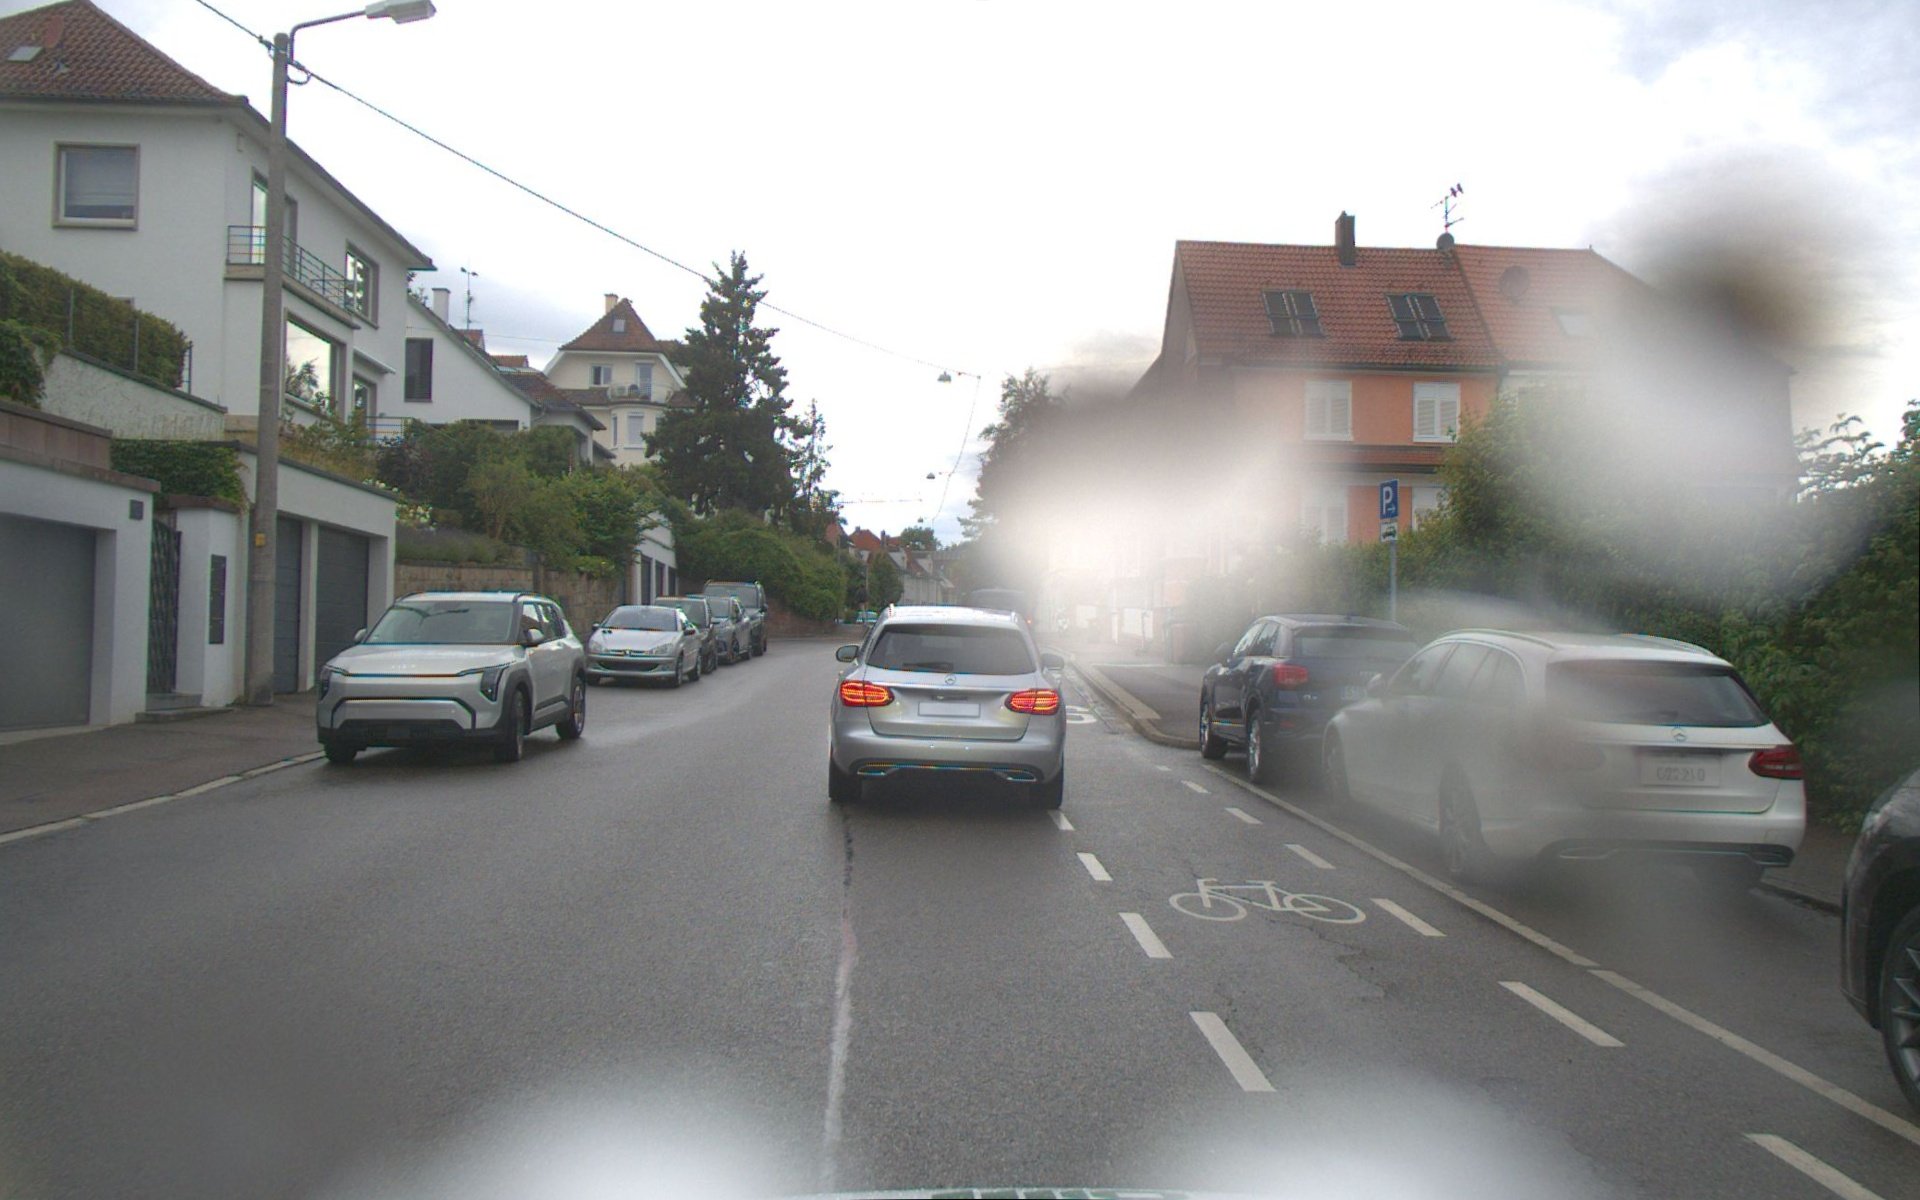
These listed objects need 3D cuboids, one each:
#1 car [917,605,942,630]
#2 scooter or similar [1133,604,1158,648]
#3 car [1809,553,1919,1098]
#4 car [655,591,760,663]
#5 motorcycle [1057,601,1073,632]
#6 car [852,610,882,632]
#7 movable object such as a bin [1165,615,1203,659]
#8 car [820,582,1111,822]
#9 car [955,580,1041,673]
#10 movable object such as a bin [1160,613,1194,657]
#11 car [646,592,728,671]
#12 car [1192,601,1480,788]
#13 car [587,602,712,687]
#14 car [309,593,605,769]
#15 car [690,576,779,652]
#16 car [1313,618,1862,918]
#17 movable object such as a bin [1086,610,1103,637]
[{"bbox_3d":[-3.181,1.784,171.645,2.417,2.442,3.999,-2,0,-1],"label":"car"},{"bbox_3d":[5.425,0.740,48.357,0.678,1.245,1.300,1,0,6],"label":"scooter or similar"},{"bbox_3d":[3.998,0.735,3.520,1.849,1.692,4.545,2,0,-3],"label":"car"},{"bbox_3d":[-5.901,0.597,39.154,1.860,1.541,4.341,2,0,-1],"label":"car"},{"bbox_3d":[4.433,0.691,69.968,0.570,1.283,2.332,-1,0,2],"label":"motorcycle"},{"bbox_3d":[-6.652,1.521,118.985,2.074,1.497,4.015,1,0,-3],"label":"car"},{"bbox_3d":[5.248,0.871,38.728,0.564,0.986,0.662,2,0,-34],"label":"movable object such as a bin"},{"bbox_3d":[0.039,0.686,13.425,1.942,1.581,4.297,2,0,0],"label":"car"},{"bbox_3d":[0.880,0.559,38.345,1.786,1.915,4.096,-3,1,1],"label":"car"},{"bbox_3d":[5.337,0.856,40.681,0.697,1.048,0.757,-1,0,-3],"label":"movable object such as a bin"},{"bbox_3d":[-5.719,0.629,34.890,1.468,1.550,3.155,1,0,-6],"label":"car"},{"bbox_3d":[3.515,0.814,16.261,1.718,1.557,4.204,1,0,-2],"label":"car"},{"bbox_3d":[-5.536,0.759,29.877,1.577,1.361,3.840,1,0,-1],"label":"car"},{"bbox_3d":[-5.008,0.723,17.109,1.860,1.595,4.237,0,0,-2],"label":"car"},{"bbox_3d":[-6.071,0.344,45.165,2.087,1.892,5.588,2,0,-5],"label":"car"},{"bbox_3d":[3.724,0.893,10.807,1.679,1.430,4.606,1,0,-2],"label":"car"},{"bbox_3d":[4.903,0.845,60.245,0.538,0.952,0.633,-2,0,-1],"label":"movable object such as a bin"}]
